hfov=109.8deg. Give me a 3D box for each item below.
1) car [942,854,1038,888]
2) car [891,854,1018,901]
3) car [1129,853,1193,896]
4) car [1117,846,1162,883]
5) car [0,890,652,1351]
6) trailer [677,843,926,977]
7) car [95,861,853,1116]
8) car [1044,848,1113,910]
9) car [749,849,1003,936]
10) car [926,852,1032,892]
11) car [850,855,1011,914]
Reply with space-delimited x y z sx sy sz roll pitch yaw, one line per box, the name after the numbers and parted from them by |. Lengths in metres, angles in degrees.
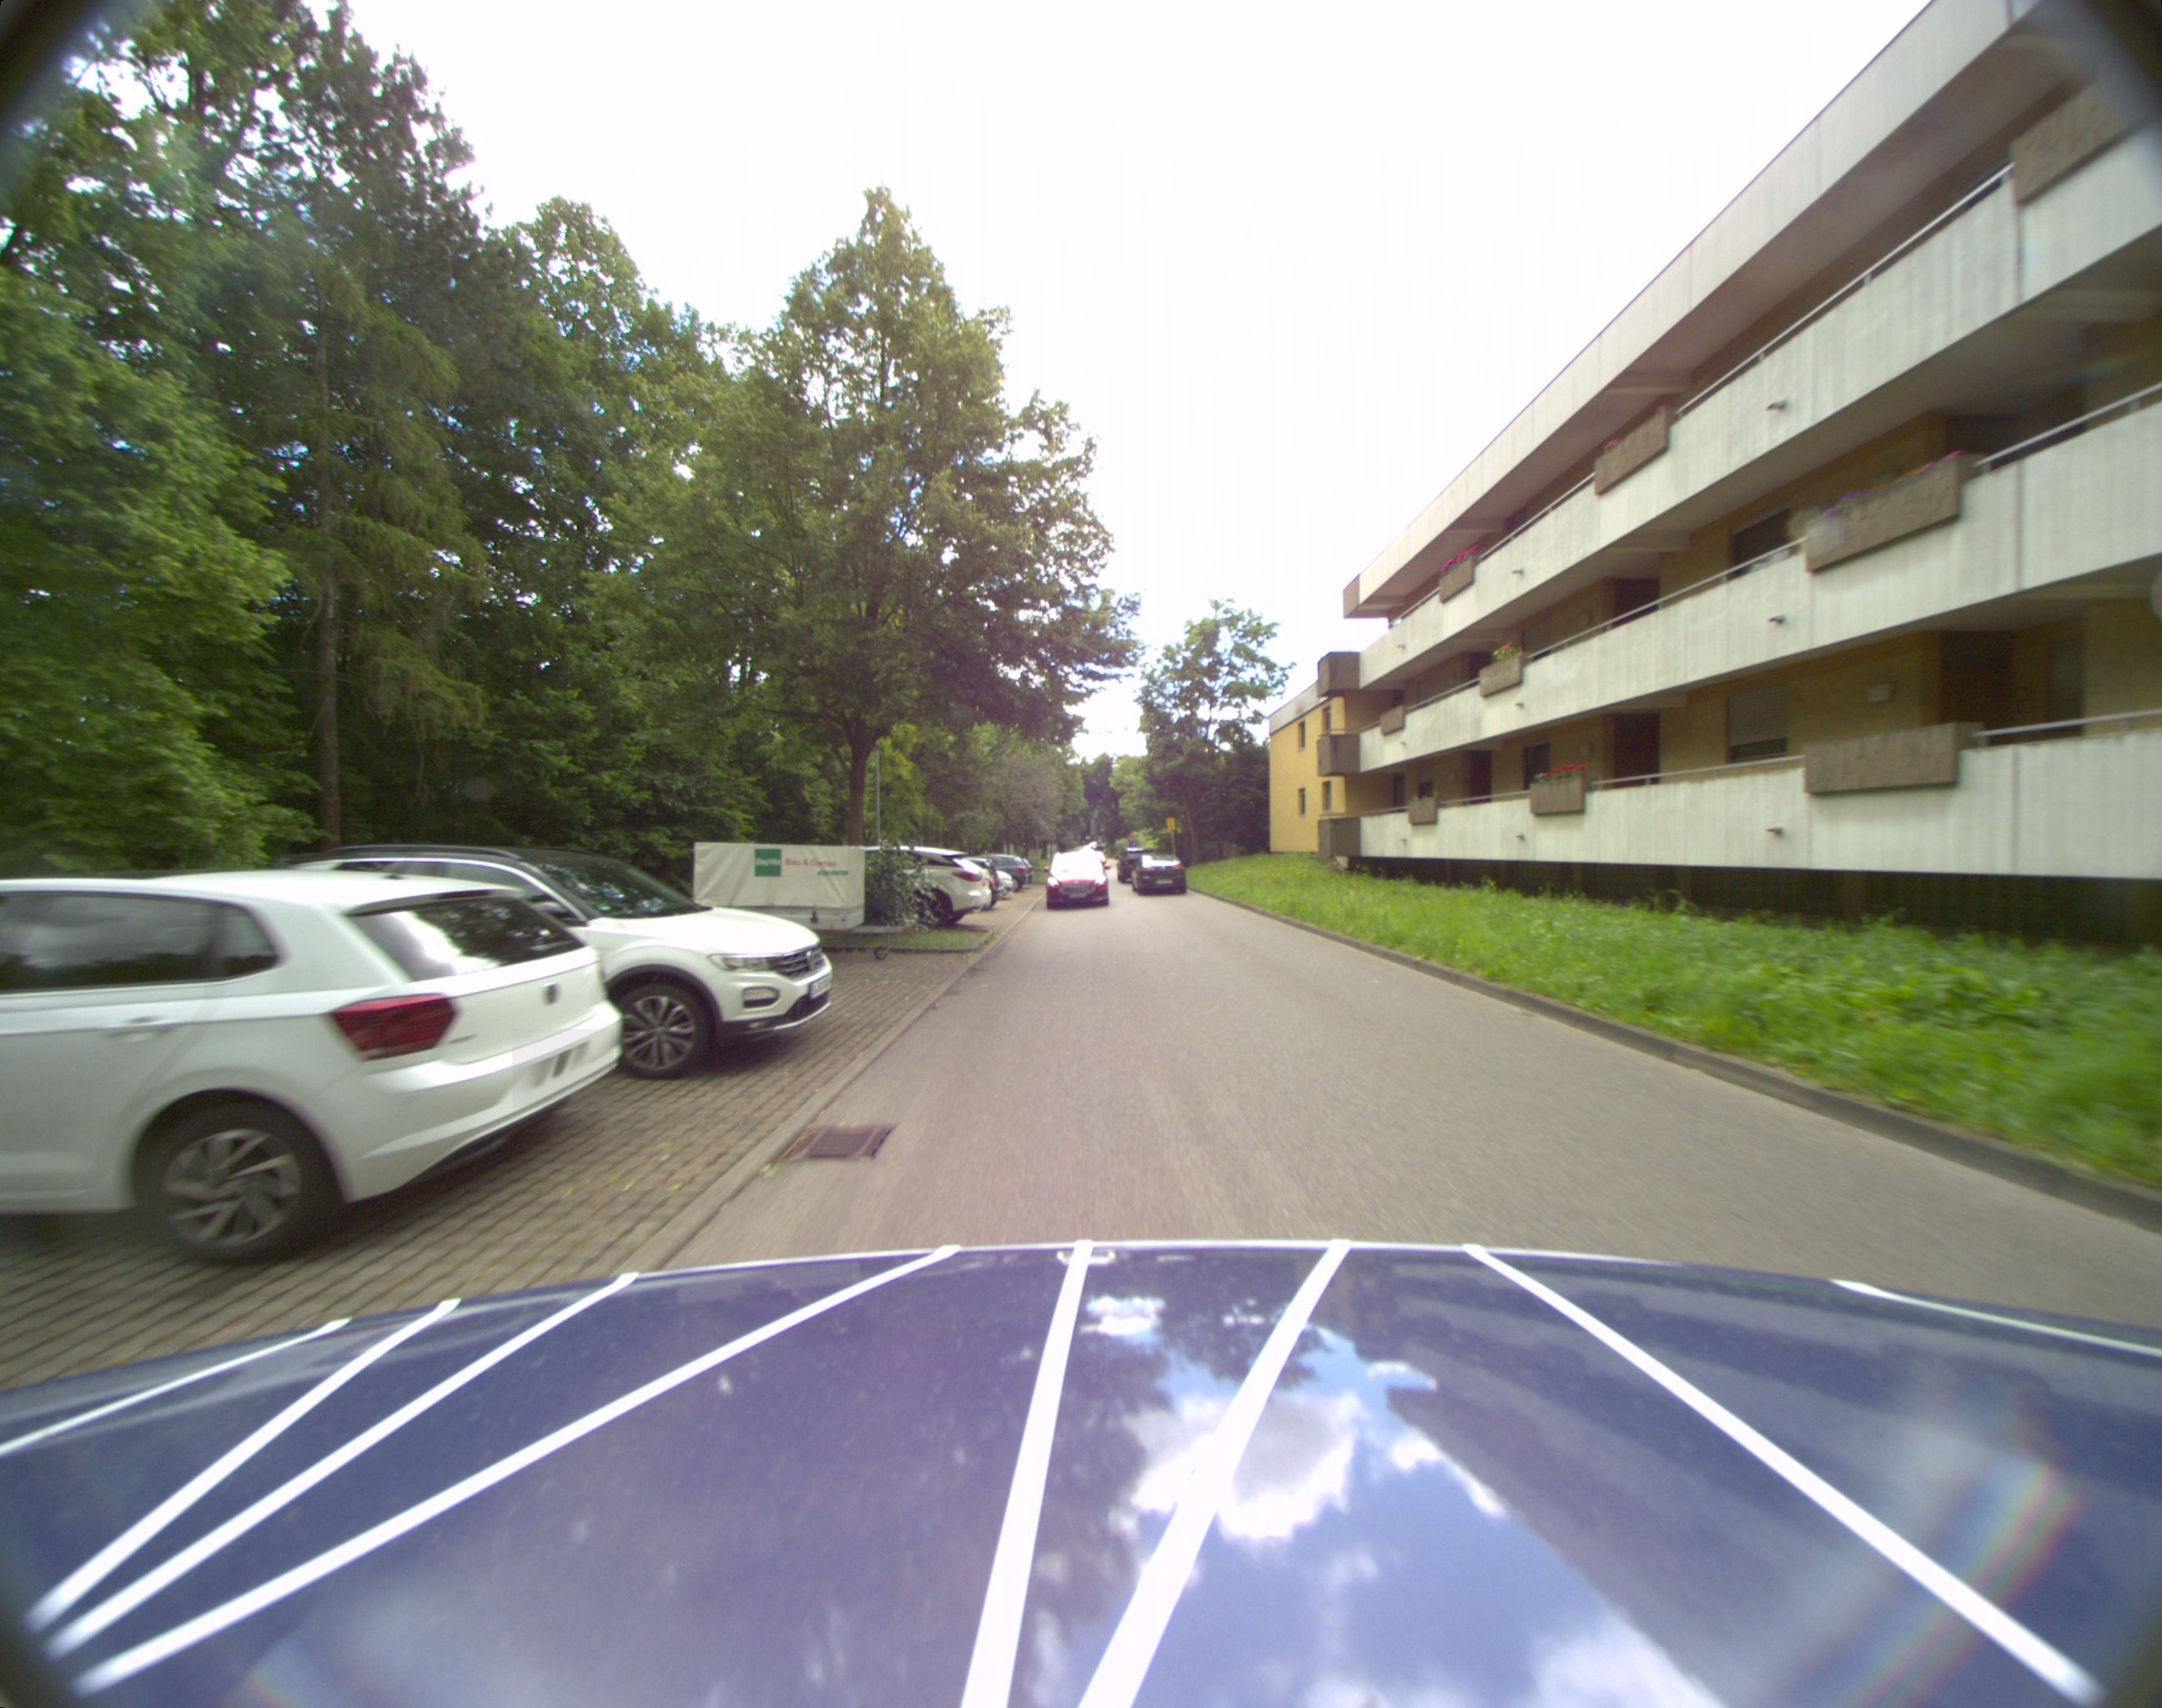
-4.016 0.754 33.947 4.097 1.455 1.785 0 1 -1 | car
-4.306 0.781 26.395 4.170 1.561 1.785 0 1 -4 | car
2.937 0.705 28.669 1.918 1.403 4.423 -2 1 0 | car
2.927 0.473 38.881 1.918 1.707 5.058 -2 1 0 | car
-4.420 0.930 3.344 4.020 1.414 1.791 1 1 -5 | car
-3.902 0.749 10.979 3.038 1.780 1.563 1 1 -2 | trailer
-4.046 0.868 5.697 4.124 1.539 1.860 1 1 -2 | car
-0.061 0.692 24.185 1.918 1.707 5.038 -2 1 0 | car
-4.246 0.757 16.235 4.828 1.683 1.974 1 1 4 | car
-4.138 0.734 31.314 4.146 1.561 1.785 0 1 -1 | car
-4.205 0.838 21.650 4.168 1.561 1.851 0 1 2 | car
